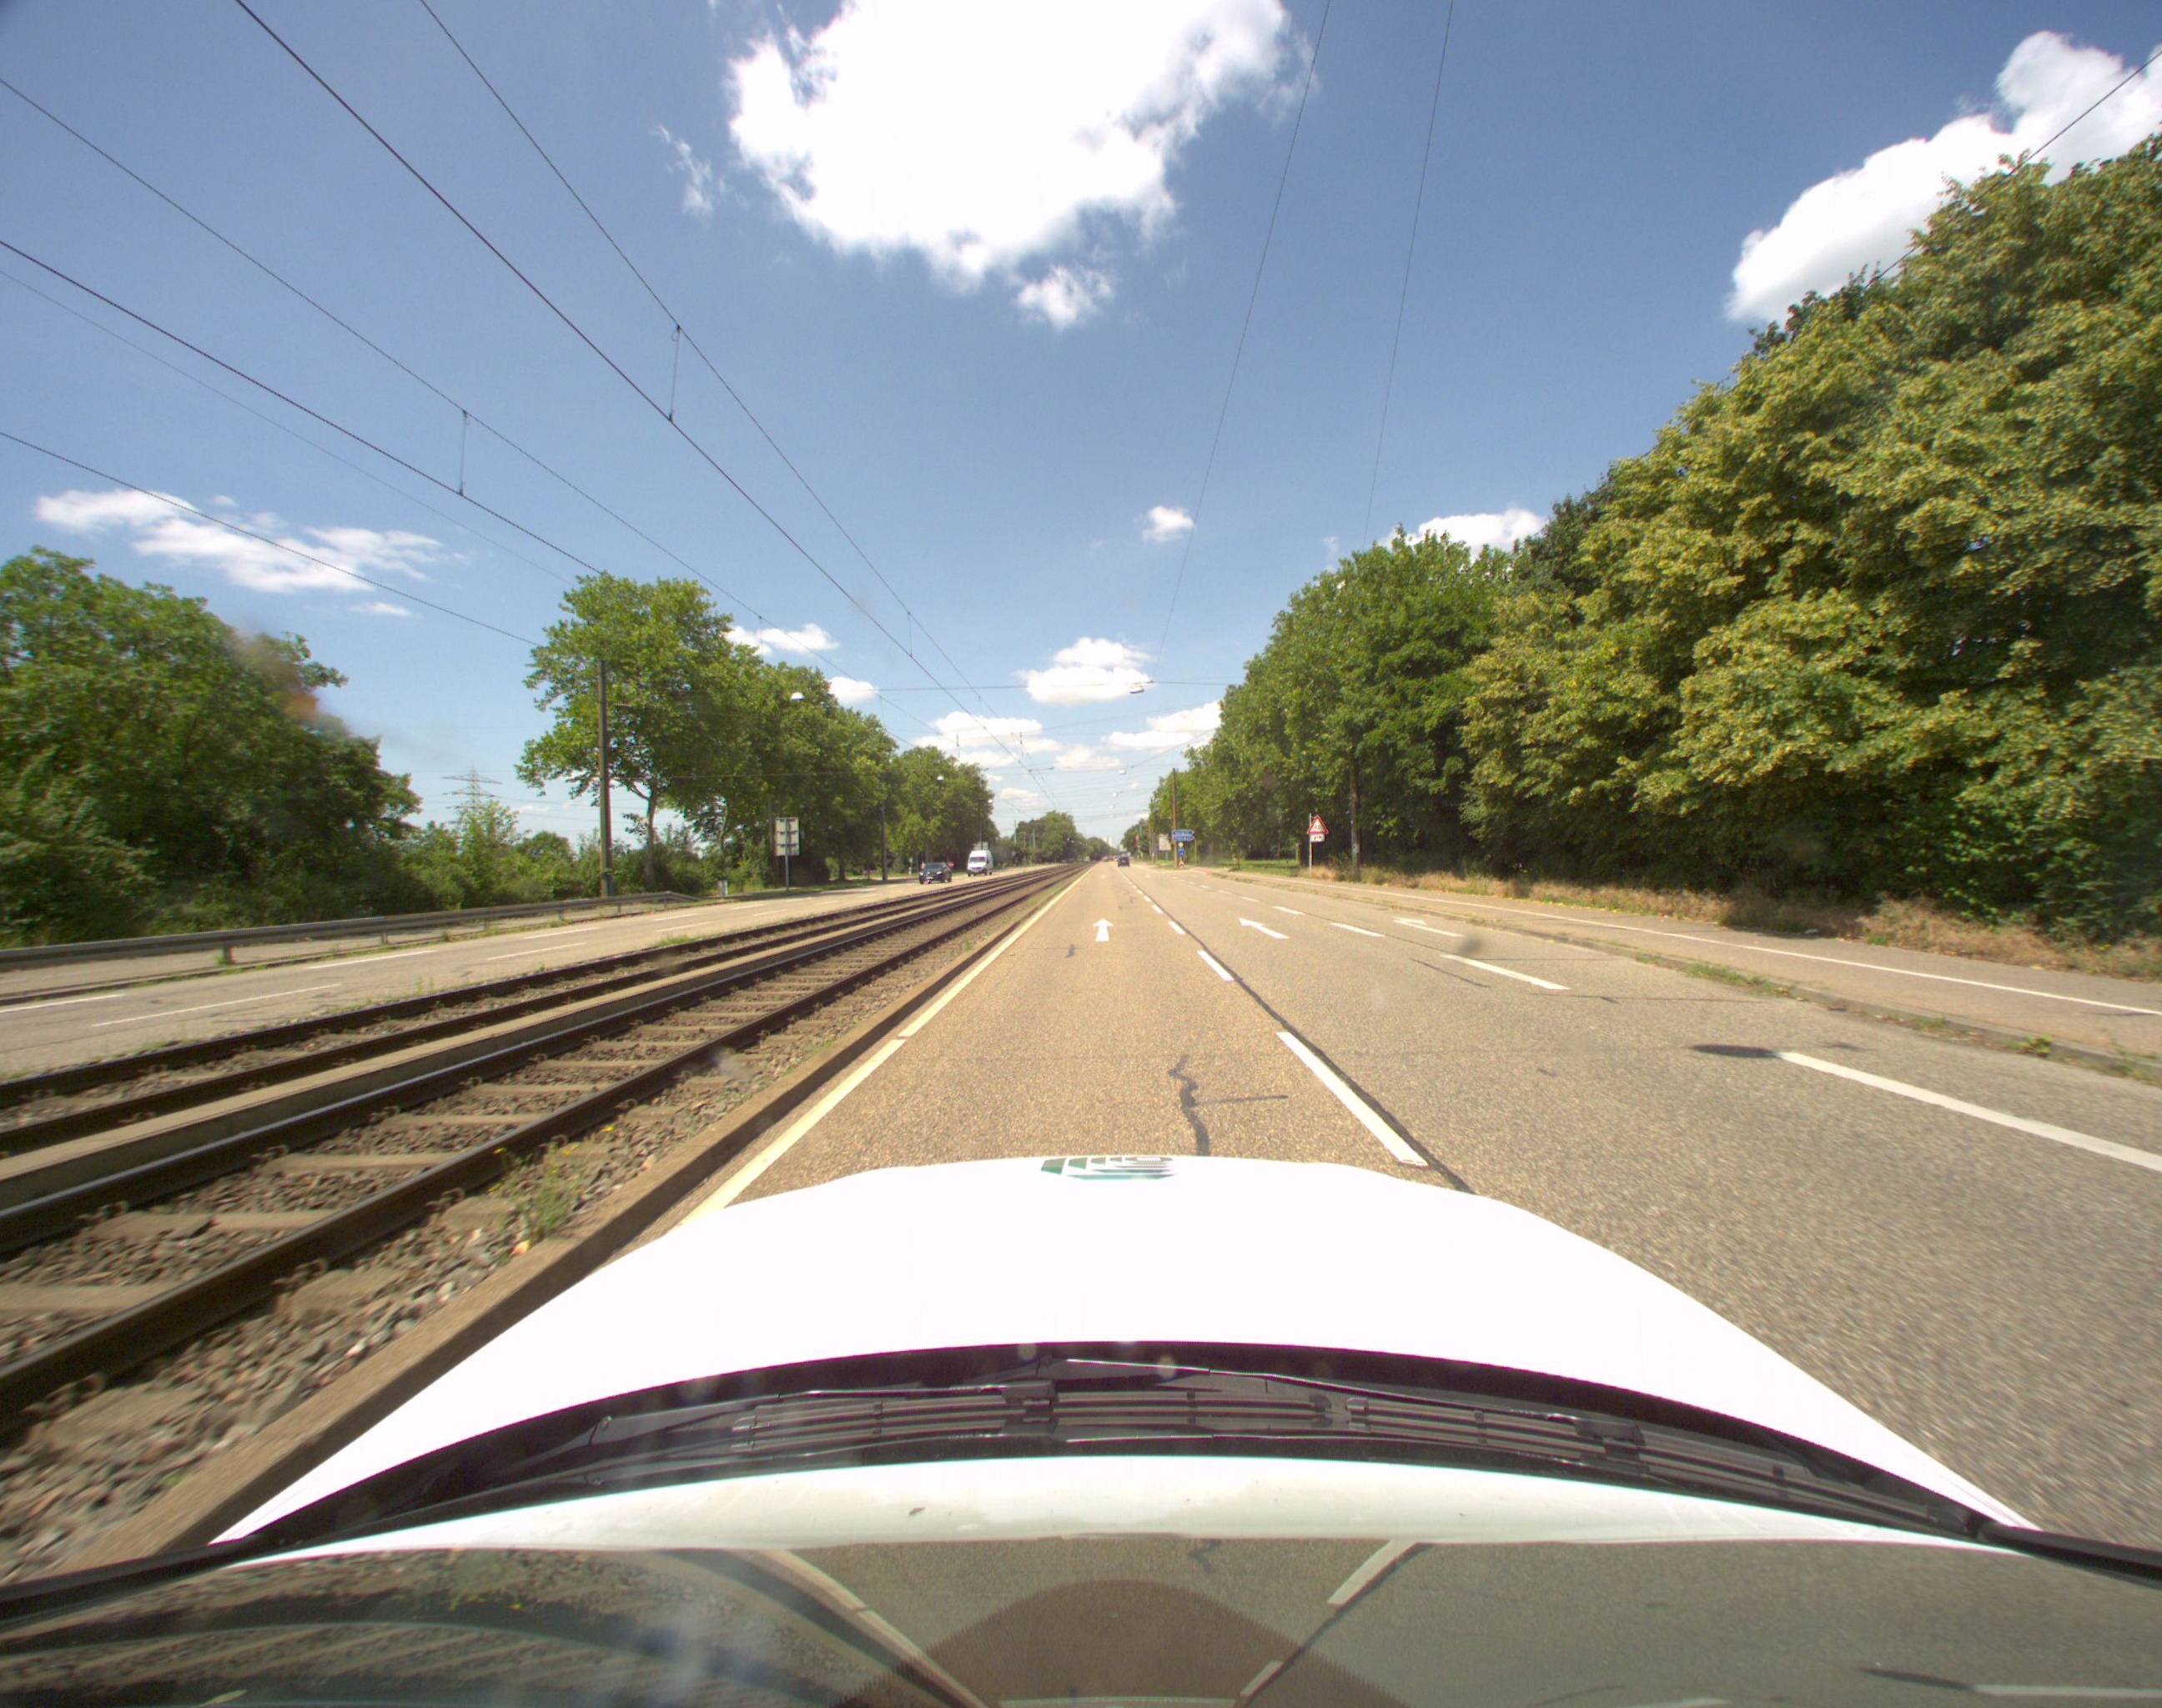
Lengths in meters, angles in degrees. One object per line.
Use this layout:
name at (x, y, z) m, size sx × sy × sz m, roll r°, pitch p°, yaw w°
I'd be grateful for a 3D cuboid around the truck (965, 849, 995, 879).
truck at (-10.874, 1.048, 87.953) m, size 2.046 × 2.939 × 6.322 m, roll -3°, pitch 0°, yaw 2°

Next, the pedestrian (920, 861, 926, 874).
pedestrian at (-19.697, 1.712, 101.488) m, size 0.512 × 1.551 × 0.703 m, roll -3°, pitch 0°, yaw -4°

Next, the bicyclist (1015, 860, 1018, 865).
bicyclist at (-14.322, 1.867, 180.880) m, size 0.452 × 1.272 × 0.398 m, roll -2°, pitch 0°, yaw 4°

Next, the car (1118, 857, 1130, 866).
car at (6.532, 1.149, 124.123) m, size 1.581 × 1.343 × 3.272 m, roll -2°, pitch 1°, yaw 0°

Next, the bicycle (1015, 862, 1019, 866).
bicycle at (-14.291, 2.277, 180.937) m, size 0.513 × 0.857 × 1.934 m, roll -3°, pitch 0°, yaw 5°

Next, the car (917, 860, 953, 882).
car at (-11.156, 1.279, 62.551) m, size 1.811 × 1.514 × 4.429 m, roll -3°, pitch 0°, yaw 2°
